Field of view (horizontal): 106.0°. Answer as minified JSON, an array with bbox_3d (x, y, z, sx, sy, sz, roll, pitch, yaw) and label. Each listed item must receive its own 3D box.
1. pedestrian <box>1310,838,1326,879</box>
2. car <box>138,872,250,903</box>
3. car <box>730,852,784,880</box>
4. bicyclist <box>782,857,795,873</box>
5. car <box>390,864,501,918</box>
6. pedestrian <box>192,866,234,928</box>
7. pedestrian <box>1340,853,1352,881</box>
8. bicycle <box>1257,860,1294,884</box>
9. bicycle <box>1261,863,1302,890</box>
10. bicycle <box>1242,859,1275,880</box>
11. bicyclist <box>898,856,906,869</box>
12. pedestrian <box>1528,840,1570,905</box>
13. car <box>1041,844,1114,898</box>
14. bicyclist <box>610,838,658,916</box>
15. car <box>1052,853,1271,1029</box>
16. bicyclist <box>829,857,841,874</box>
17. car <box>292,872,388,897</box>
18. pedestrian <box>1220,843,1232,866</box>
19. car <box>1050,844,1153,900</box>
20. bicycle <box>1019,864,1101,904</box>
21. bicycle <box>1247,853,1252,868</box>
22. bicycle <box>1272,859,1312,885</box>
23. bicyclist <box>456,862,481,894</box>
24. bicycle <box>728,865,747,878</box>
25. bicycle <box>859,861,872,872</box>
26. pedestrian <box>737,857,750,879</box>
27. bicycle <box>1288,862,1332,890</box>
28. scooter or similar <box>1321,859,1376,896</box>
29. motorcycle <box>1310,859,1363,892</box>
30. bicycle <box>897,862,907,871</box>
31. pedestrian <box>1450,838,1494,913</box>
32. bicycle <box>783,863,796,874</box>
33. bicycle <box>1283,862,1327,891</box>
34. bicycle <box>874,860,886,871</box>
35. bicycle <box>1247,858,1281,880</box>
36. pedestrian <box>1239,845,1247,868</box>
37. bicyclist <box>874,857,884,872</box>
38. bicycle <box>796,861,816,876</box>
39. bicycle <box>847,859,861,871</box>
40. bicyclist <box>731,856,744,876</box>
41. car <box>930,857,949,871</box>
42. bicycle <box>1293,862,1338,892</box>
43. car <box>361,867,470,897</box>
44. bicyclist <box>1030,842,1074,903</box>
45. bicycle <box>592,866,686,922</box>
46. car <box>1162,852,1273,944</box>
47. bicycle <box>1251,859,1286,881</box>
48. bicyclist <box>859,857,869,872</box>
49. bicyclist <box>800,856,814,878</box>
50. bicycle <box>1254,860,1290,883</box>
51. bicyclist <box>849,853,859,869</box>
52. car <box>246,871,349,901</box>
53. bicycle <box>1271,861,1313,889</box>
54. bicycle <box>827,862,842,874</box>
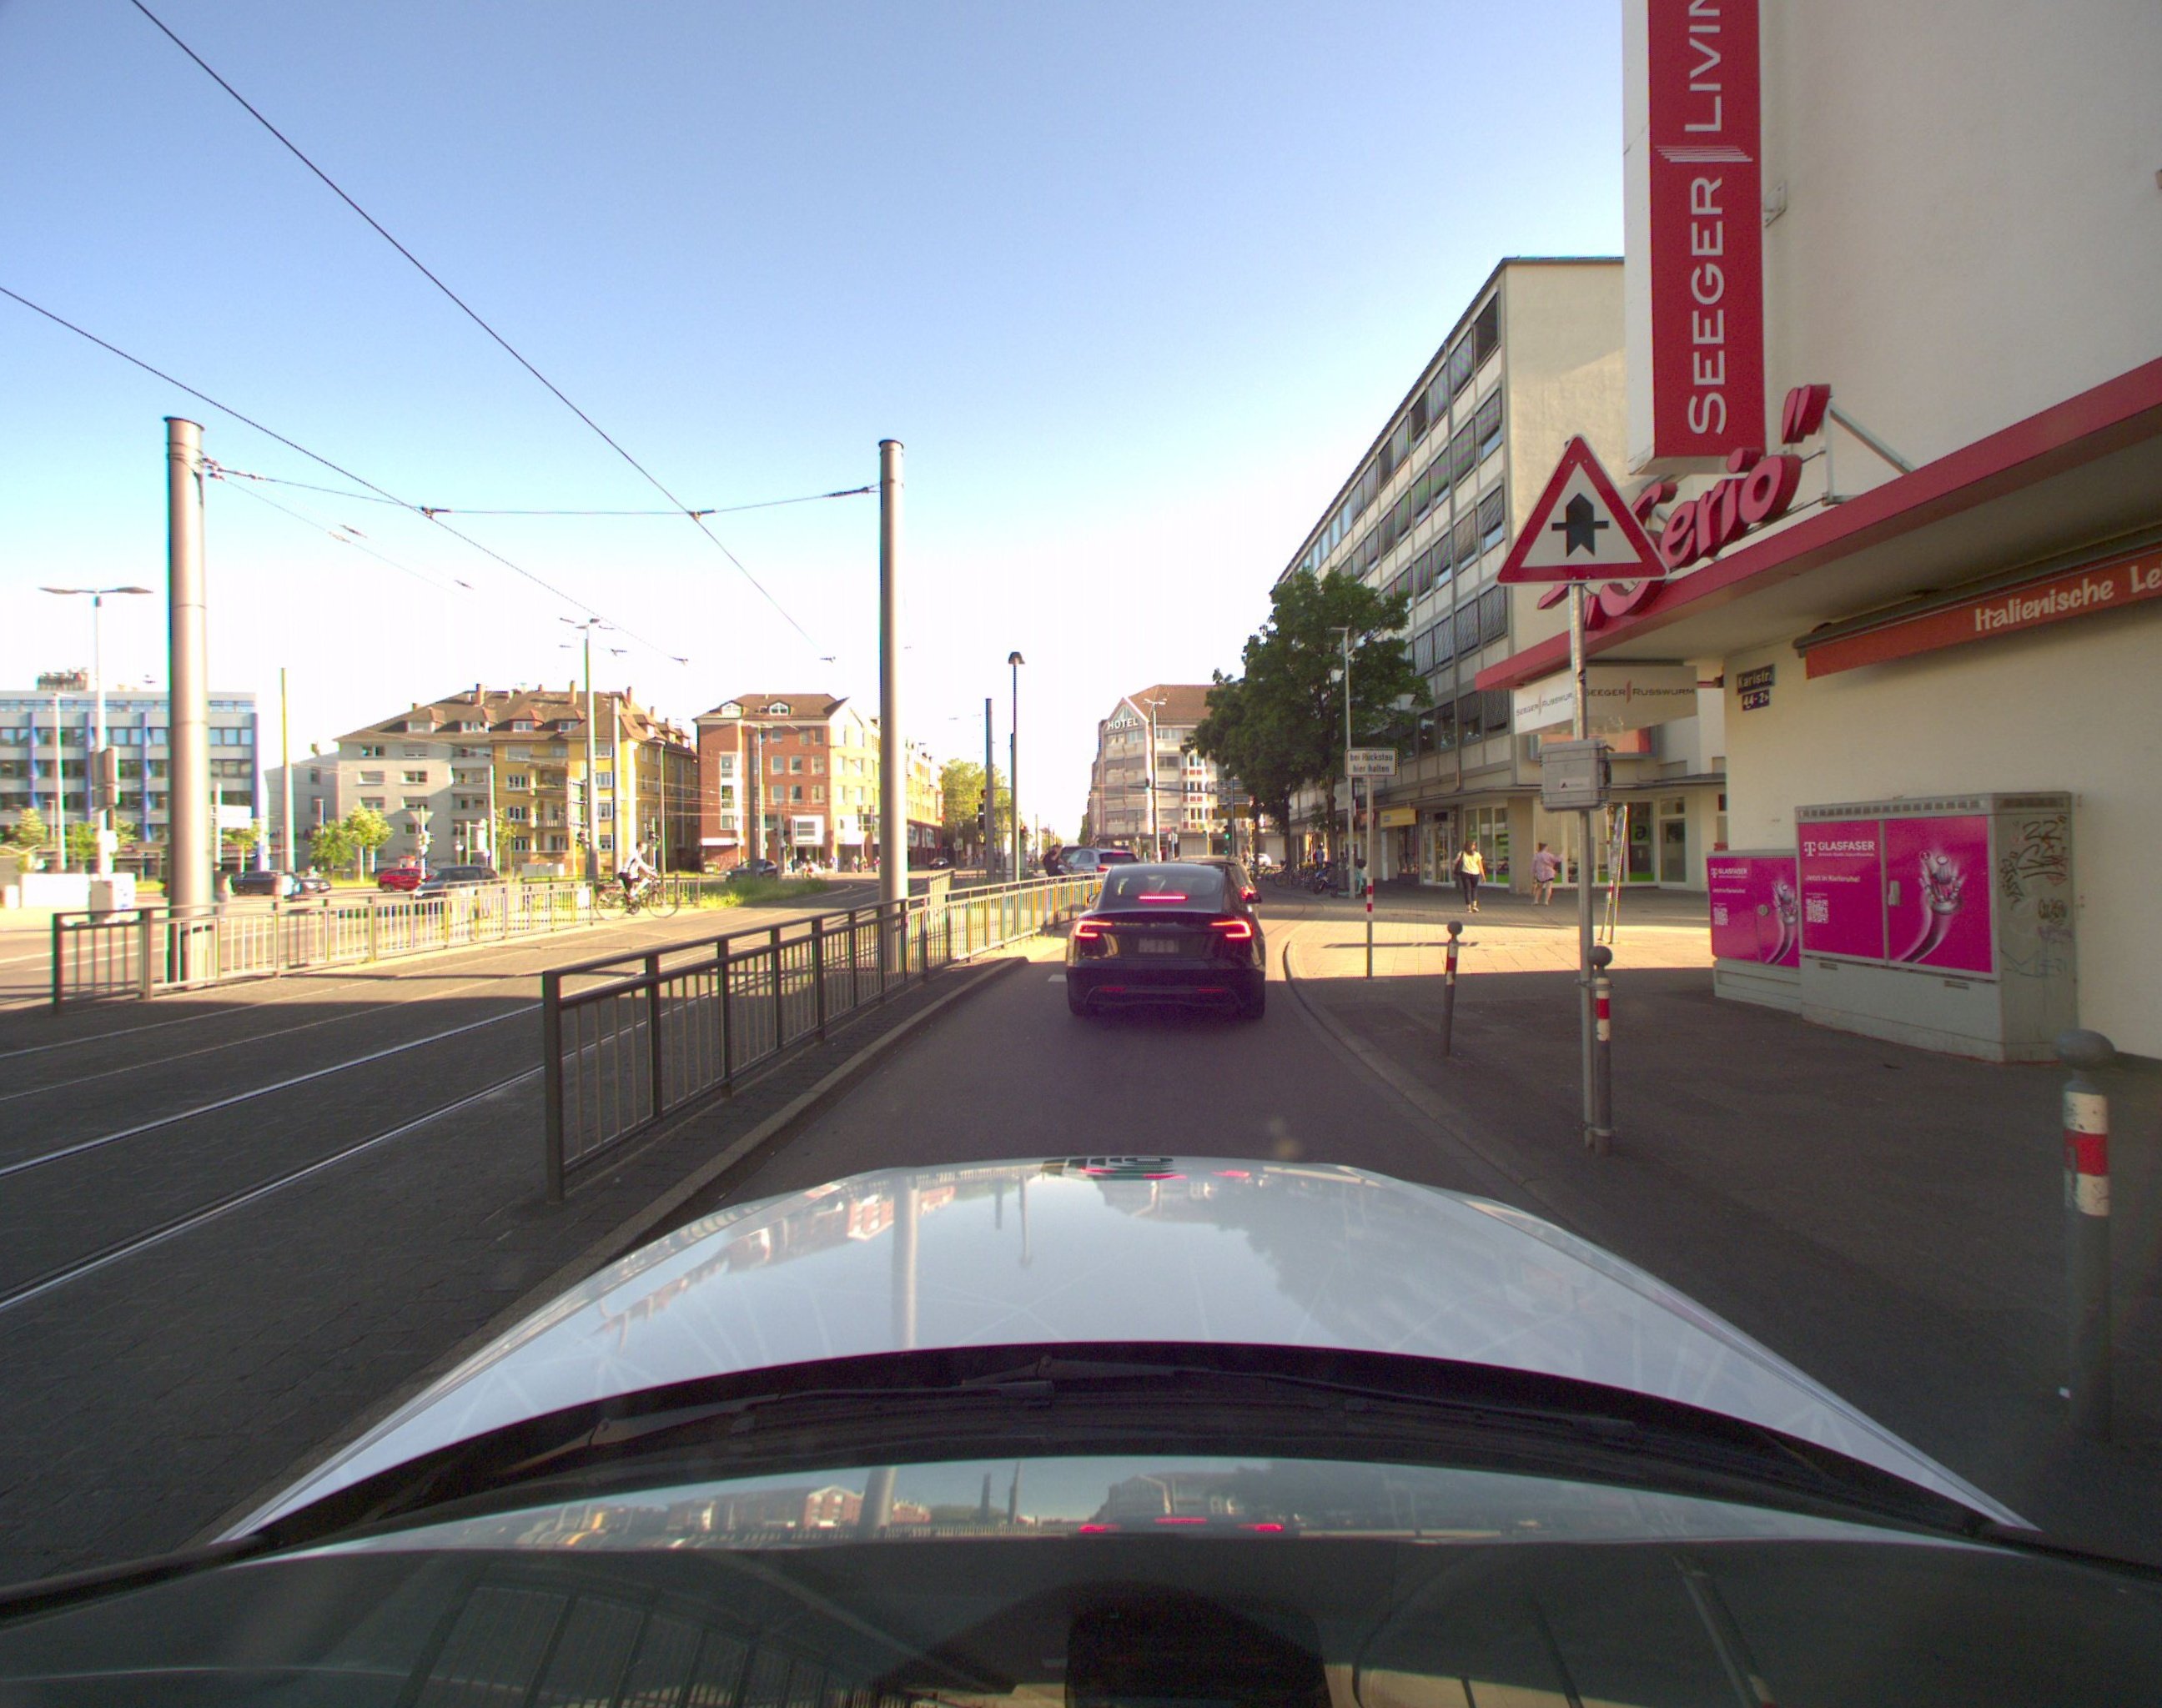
[{"bbox_3d":[11.820,0.232,40.604,0.659,2.014,0.580,0,-1,4],"label":"pedestrian"},{"bbox_3d":[-50.620,1.876,46.562,3.952,1.685,1.903,0,-1,-11],"label":"car"},{"bbox_3d":[-18.701,0.690,47.200,1.706,1.527,4.032,0,-1,-3],"label":"car"},{"bbox_3d":[-26.865,1.004,74.903,0.699,1.471,0.975,-1,0,9],"label":"bicyclist"},{"bbox_3d":[-19.910,1.102,25.702,1.645,1.526,3.839,0,-1,-20],"label":"car"},{"bbox_3d":[-24.000,1.172,22.533,0.585,1.681,0.779,-1,-1,44],"label":"pedestrian"},{"bbox_3d":[12.882,0.635,39.597,0.388,1.343,0.513,0,-1,4],"label":"pedestrian"},{"bbox_3d":[9.140,0.838,38.214,1.643,1.099,0.350,0,-1,3],"label":"bicycle"},{"bbox_3d":[8.427,0.924,34.192,1.649,1.099,0.349,0,-1,-9],"label":"bicycle"},{"bbox_3d":[9.244,0.792,42.395,1.643,1.099,0.350,0,-1,3],"label":"bicycle"},{"bbox_3d":[-21.837,1.077,99.271,0.780,1.563,0.747,0,-1,3],"label":"bicyclist"},{"bbox_3d":[12.419,0.490,21.643,0.881,1.667,0.813,-1,-1,25],"label":"pedestrian"},{"bbox_3d":[-0.230,0.666,32.824,1.997,2.014,3.980,-1,0,-15],"label":"car"},{"bbox_3d":[-10.280,0.516,18.733,0.749,1.759,0.757,-1,-1,40],"label":"bicyclist"},{"bbox_3d":[0.906,0.740,8.832,1.820,1.455,4.007,0,-1,7],"label":"car"},{"bbox_3d":[-22.756,1.060,75.341,0.780,1.563,0.747,0,-1,3],"label":"bicyclist"},{"bbox_3d":[-45.873,1.863,50.519,3.990,1.483,1.786,0,-1,-12],"label":"car"},{"bbox_3d":[10.552,0.049,59.259,0.697,1.662,0.777,0,-1,1],"label":"pedestrian"},{"bbox_3d":[0.579,0.557,26.697,1.891,1.662,4.126,0,-1,-23],"label":"car"},{"bbox_3d":[-0.558,0.802,22.567,2.346,1.053,0.624,0,-1,-36],"label":"bicycle"},{"bbox_3d":[12.231,0.460,58.960,0.330,1.034,1.260,0,-1,11],"label":"bicycle"},{"bbox_3d":[9.118,0.793,35.260,1.643,1.099,0.350,0,-1,3],"label":"bicycle"},{"bbox_3d":[-34.538,1.331,45.929,0.901,1.808,0.788,0,-1,-11],"label":"bicyclist"},{"bbox_3d":[-26.018,1.329,61.671,0.445,0.972,2.247,0,-1,2],"label":"bicycle"},{"bbox_3d":[-22.243,1.308,84.063,0.527,1.088,2.286,0,-1,4],"label":"bicycle"},{"bbox_3d":[-28.716,1.170,69.227,0.780,1.820,0.747,0,-1,3],"label":"pedestrian"},{"bbox_3d":[8.817,0.858,31.364,1.649,1.061,0.349,0,-1,-9],"label":"bicycle"},{"bbox_3d":[8.898,0.765,27.101,1.625,1.215,0.649,-1,-1,32],"label":"scooter or similar"},{"bbox_3d":[9.144,0.769,29.171,1.701,1.173,0.541,0,-1,0],"label":"motorcycle"},{"bbox_3d":[-21.816,1.504,99.239,0.527,1.088,2.227,0,-1,4],"label":"bicycle"},{"bbox_3d":[9.387,0.506,19.589,0.906,1.752,1.044,-1,-1,25],"label":"pedestrian"},{"bbox_3d":[-26.835,1.359,75.004,0.402,0.981,1.699,-1,-1,10],"label":"bicycle"},{"bbox_3d":[8.730,0.860,31.790,1.649,1.099,0.349,0,-1,-9],"label":"bicycle"},{"bbox_3d":[-21.225,1.204,85.891,0.527,1.088,2.227,-1,0,4],"label":"bicycle"},{"bbox_3d":[9.263,0.762,41.300,1.643,1.099,0.350,-1,0,3],"label":"bicycle"},{"bbox_3d":[11.836,0.175,59.430,0.523,1.710,0.404,-1,-1,7],"label":"pedestrian"},{"bbox_3d":[-21.185,1.089,85.542,0.780,1.563,0.747,-1,0,3],"label":"bicyclist"},{"bbox_3d":[-19.536,1.019,57.928,0.456,1.093,2.205,0,-1,6],"label":"bicycle"},{"bbox_3d":[-22.569,1.100,81.061,0.527,1.088,2.286,-1,0,4],"label":"bicycle"},{"bbox_3d":[-26.033,0.918,61.693,0.631,1.503,0.696,0,-1,1],"label":"bicyclist"},{"bbox_3d":[-17.504,1.194,101.003,1.692,1.731,3.706,0,-1,0],"label":"car"},{"bbox_3d":[8.895,0.860,30.940,1.649,1.099,0.349,0,-1,-9],"label":"bicycle"},{"bbox_3d":[-39.451,1.653,48.375,4.585,1.700,1.993,0,-1,-10],"label":"car"},{"bbox_3d":[-0.799,0.504,22.332,0.763,1.628,0.967,0,-1,-37],"label":"bicyclist"},{"bbox_3d":[-10.202,0.897,18.854,0.479,1.222,1.867,-1,-1,38],"label":"bicycle"},{"bbox_3d":[2.472,0.702,15.052,1.741,1.454,4.009,-1,0,8],"label":"car"},{"bbox_3d":[9.280,0.799,40.253,1.643,1.099,0.350,0,-1,3],"label":"bicycle"},{"bbox_3d":[-22.303,1.091,83.643,0.780,1.563,0.747,-1,0,3],"label":"bicyclist"},{"bbox_3d":[-19.537,0.919,58.059,0.781,1.527,0.590,0,-1,6],"label":"bicyclist"},{"bbox_3d":[9.205,0.842,39.240,1.643,1.099,0.350,0,-1,3],"label":"bicycle"},{"bbox_3d":[-22.578,0.732,81.067,0.780,1.563,0.747,0,-1,4],"label":"bicyclist"},{"bbox_3d":[-45.494,1.837,47.379,3.984,1.672,1.772,0,-1,-8],"label":"car"},{"bbox_3d":[8.616,0.848,33.322,1.649,1.099,0.349,0,-1,-9],"label":"bicycle"},{"bbox_3d":[-22.744,1.292,75.179,0.535,1.088,2.227,0,-1,4],"label":"bicycle"}]
